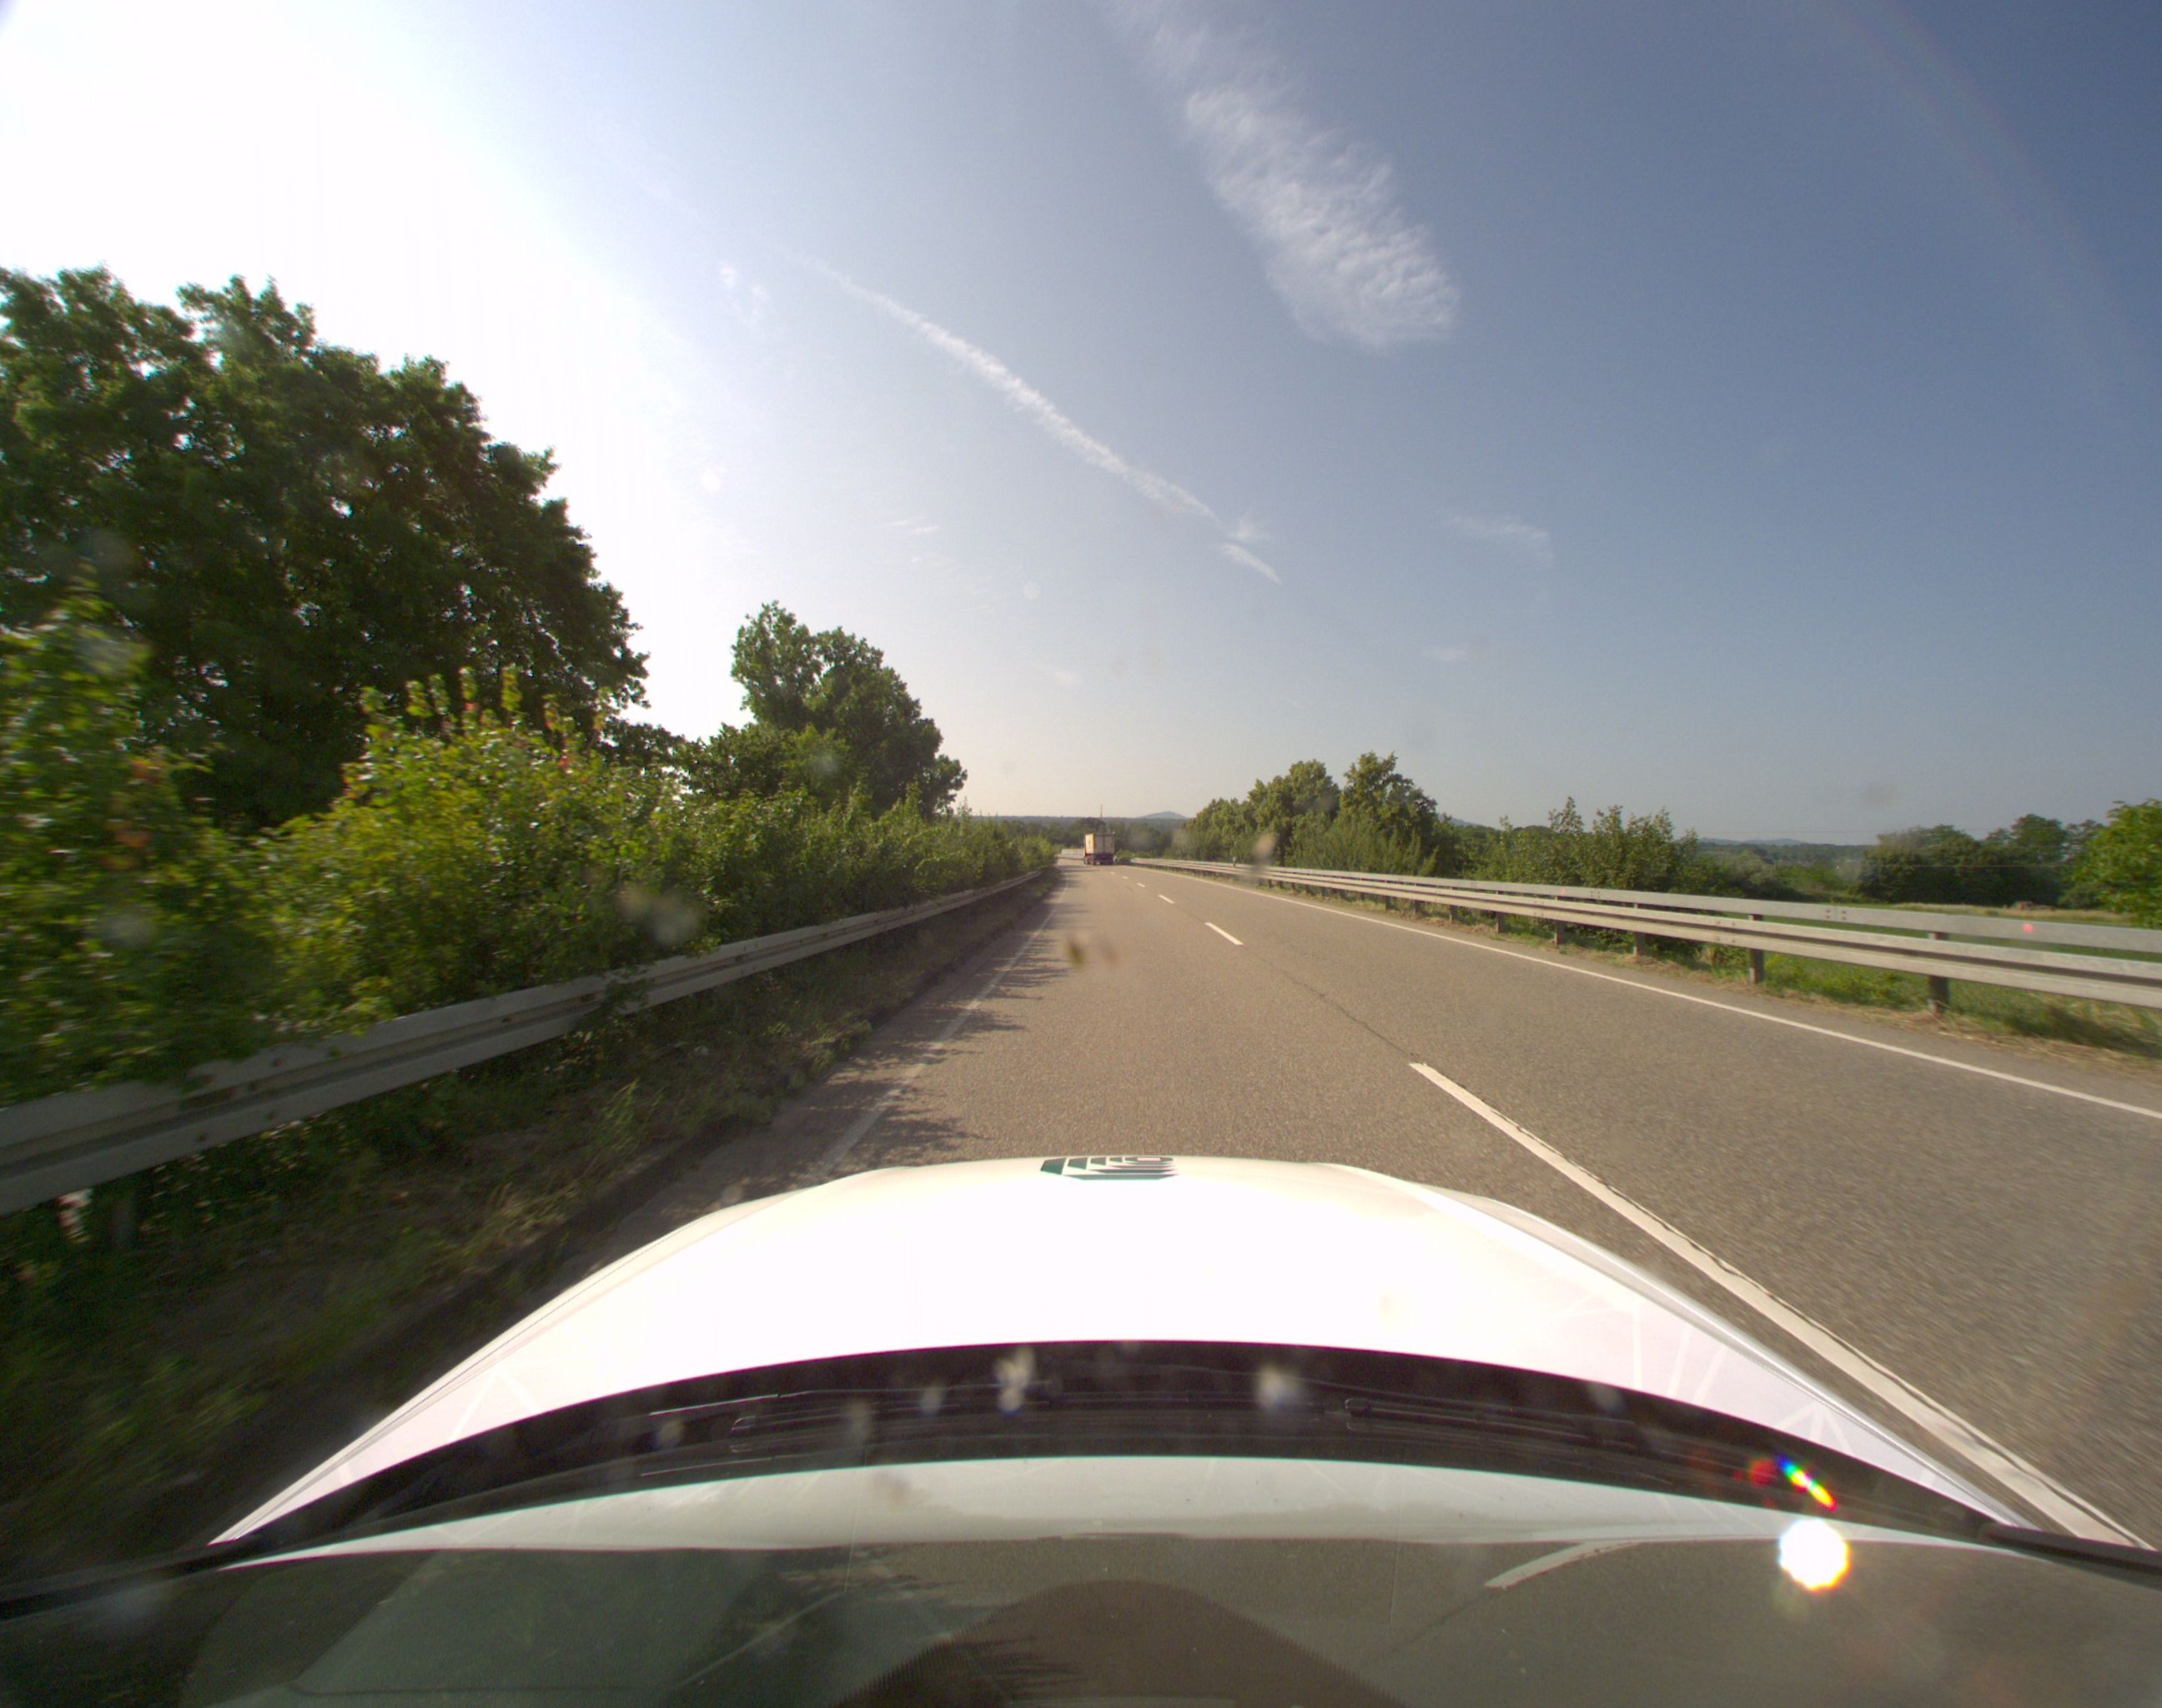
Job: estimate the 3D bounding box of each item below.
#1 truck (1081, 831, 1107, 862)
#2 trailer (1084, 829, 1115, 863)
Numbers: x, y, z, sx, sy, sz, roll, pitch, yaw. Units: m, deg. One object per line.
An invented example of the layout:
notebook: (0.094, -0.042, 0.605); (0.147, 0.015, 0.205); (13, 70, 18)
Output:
truck: (1.657, -0.980, 106.695); (2.655, 3.896, 5.637); (-1, 0, -6)
trailer: (2.208, -0.947, 100.626); (2.675, 3.907, 9.655); (-1, 0, -5)
